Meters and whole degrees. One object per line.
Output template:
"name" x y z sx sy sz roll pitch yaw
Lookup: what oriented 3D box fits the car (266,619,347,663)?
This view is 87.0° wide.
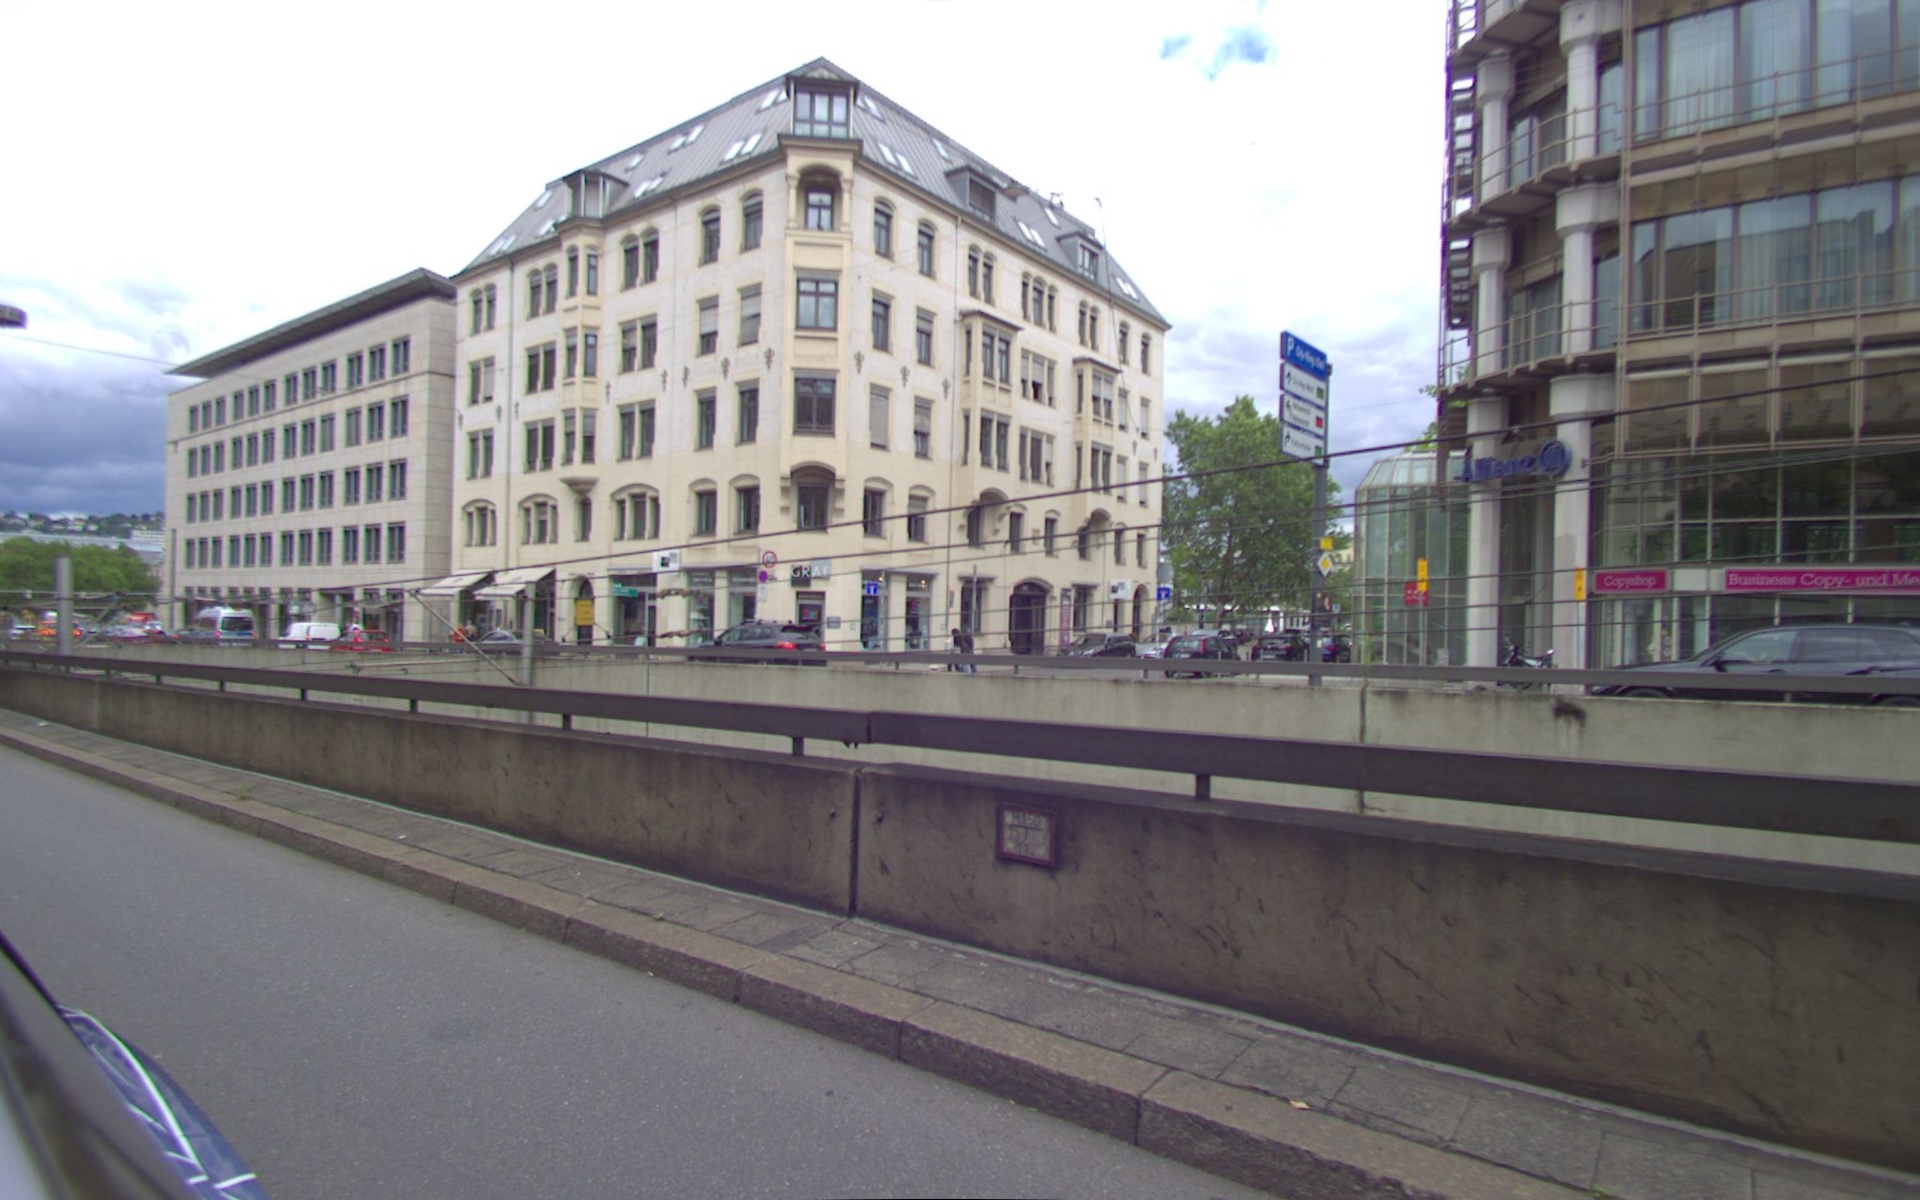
"car" -32.846 2.010 50.804 4.784 2.029 1.974 -1 0 38

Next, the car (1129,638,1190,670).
"car" 9.369 2.480 47.265 1.431 1.204 3.557 6 3 35

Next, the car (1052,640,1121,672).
"car" 5.416 2.336 42.960 1.644 1.243 3.562 -1 -2 31

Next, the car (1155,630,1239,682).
"car" 8.200 1.876 34.856 1.646 1.674 3.557 -1 -2 35

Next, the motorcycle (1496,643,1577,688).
"motorcycle" 14.598 1.647 25.659 1.659 1.083 0.640 -1 0 19

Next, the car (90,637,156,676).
"car" -47.747 3.165 57.721 4.784 2.029 1.974 -1 0 38

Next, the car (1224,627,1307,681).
"car" 10.223 1.755 33.686 1.646 1.674 3.557 -1 -2 35

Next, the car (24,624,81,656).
"car" -61.509 2.673 68.579 4.784 2.029 2.089 -1 0 38

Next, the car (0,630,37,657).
"car" -72.940 3.330 78.120 3.996 2.029 1.973 -1 -2 40

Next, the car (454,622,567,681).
"car" -17.130 1.896 38.477 4.784 2.029 1.974 -1 0 38

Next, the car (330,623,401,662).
"car" -32.108 2.286 54.599 3.995 2.029 1.974 -1 -2 38

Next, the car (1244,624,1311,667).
"car" 13.079 1.834 41.627 1.646 1.674 3.557 -1 -2 35

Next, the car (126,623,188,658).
"car" -49.857 2.497 62.833 4.784 2.029 1.974 -1 0 38

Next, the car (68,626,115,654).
"car" -63.925 2.919 74.498 3.996 2.029 1.973 -1 -2 40

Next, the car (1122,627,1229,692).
"car" 6.068 1.610 28.270 1.646 1.674 3.606 -1 -2 35

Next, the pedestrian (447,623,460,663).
"pedestrian" -22.975 1.921 45.907 0.502 1.793 0.579 0 -1 -28

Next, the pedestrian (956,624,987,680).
"pedestrian" 0.361 1.622 31.610 0.684 1.724 0.705 -2 -2 27

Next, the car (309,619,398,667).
"car" -28.059 1.929 46.760 4.784 2.029 1.974 -1 0 38

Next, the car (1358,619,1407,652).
"car" 22.185 1.857 53.082 1.646 1.674 3.557 -1 -2 35

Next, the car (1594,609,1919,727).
"car" 12.213 0.943 15.011 4.635 1.572 1.797 -1 -2 37

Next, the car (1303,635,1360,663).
"car" 16.511 2.158 44.923 1.535 1.140 3.557 -1 -2 35

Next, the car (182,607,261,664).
"car" -42.599 1.981 58.345 5.462 3.083 2.341 -1 0 38

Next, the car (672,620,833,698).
"car" -6.064 1.614 29.327 4.784 2.029 1.974 -1 0 38

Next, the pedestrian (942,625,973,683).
"pedestrian" -0.079 1.626 30.693 0.684 1.724 0.705 -2 -2 27

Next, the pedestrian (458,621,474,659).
"pedestrian" -23.638 1.920 48.409 0.568 1.793 0.512 1 -2 -45
